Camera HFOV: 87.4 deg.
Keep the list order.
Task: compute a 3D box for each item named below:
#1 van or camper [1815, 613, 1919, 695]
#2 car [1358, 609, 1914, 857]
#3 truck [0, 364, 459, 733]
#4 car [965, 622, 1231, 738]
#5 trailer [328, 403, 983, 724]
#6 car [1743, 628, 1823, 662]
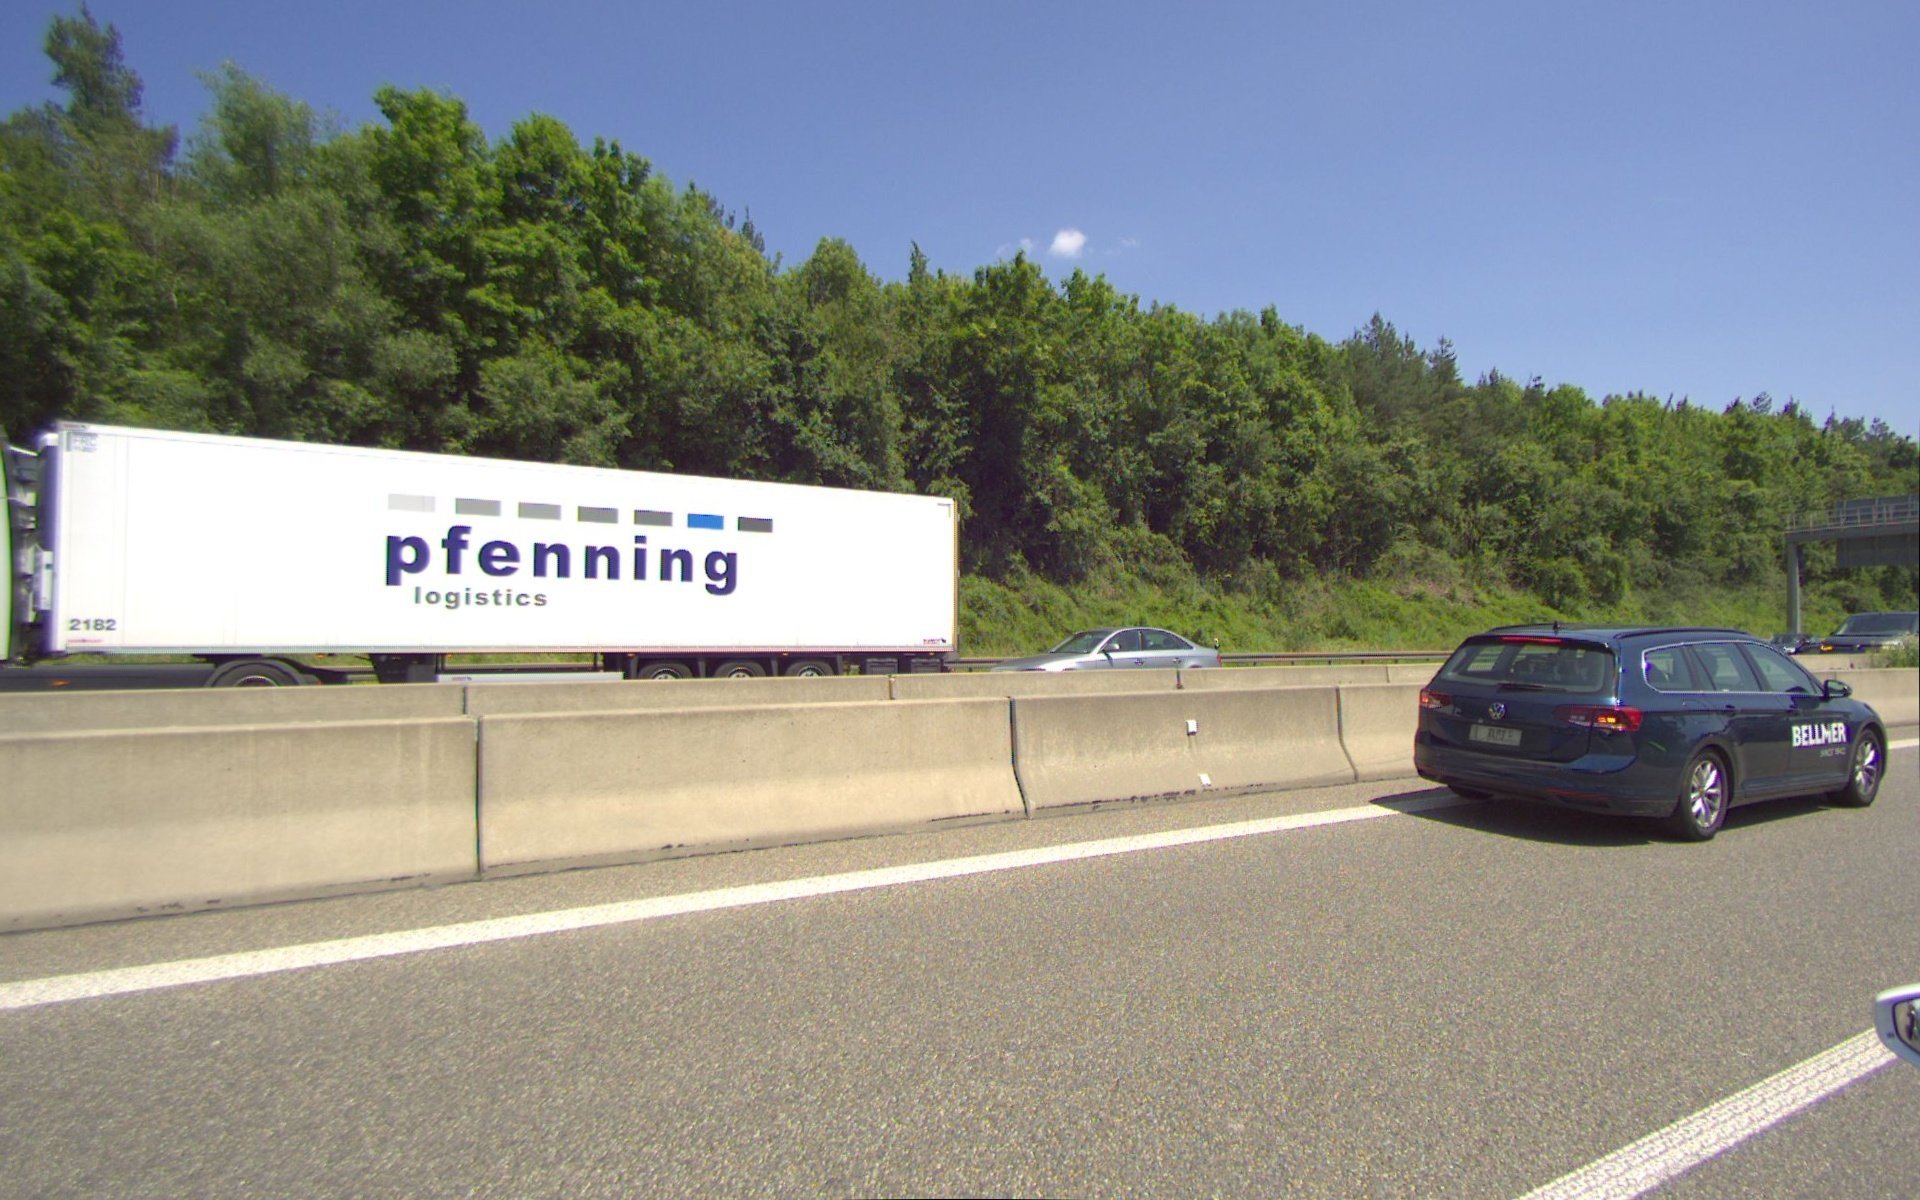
[{"bbox_3d":[25.793,1.464,27.497,4.867,2.040,1.985,2,-1,-28],"label":"van or camper"},{"bbox_3d":[5.513,0.876,8.045,4.623,1.469,1.865,2,0,-30],"label":"car"},{"bbox_3d":[-11.450,-0.593,14.314,7.432,4.541,2.934,2,-1,-31],"label":"truck"},{"bbox_3d":[2.493,1.364,17.886,4.401,1.786,1.983,2,-1,-31],"label":"car"},{"bbox_3d":[-4.954,-0.334,18.173,10.690,4.540,2.935,2,-1,-30],"label":"trailer"},{"bbox_3d":[39.530,2.179,48.251,3.504,1.504,1.920,2,-1,-32],"label":"car"}]
